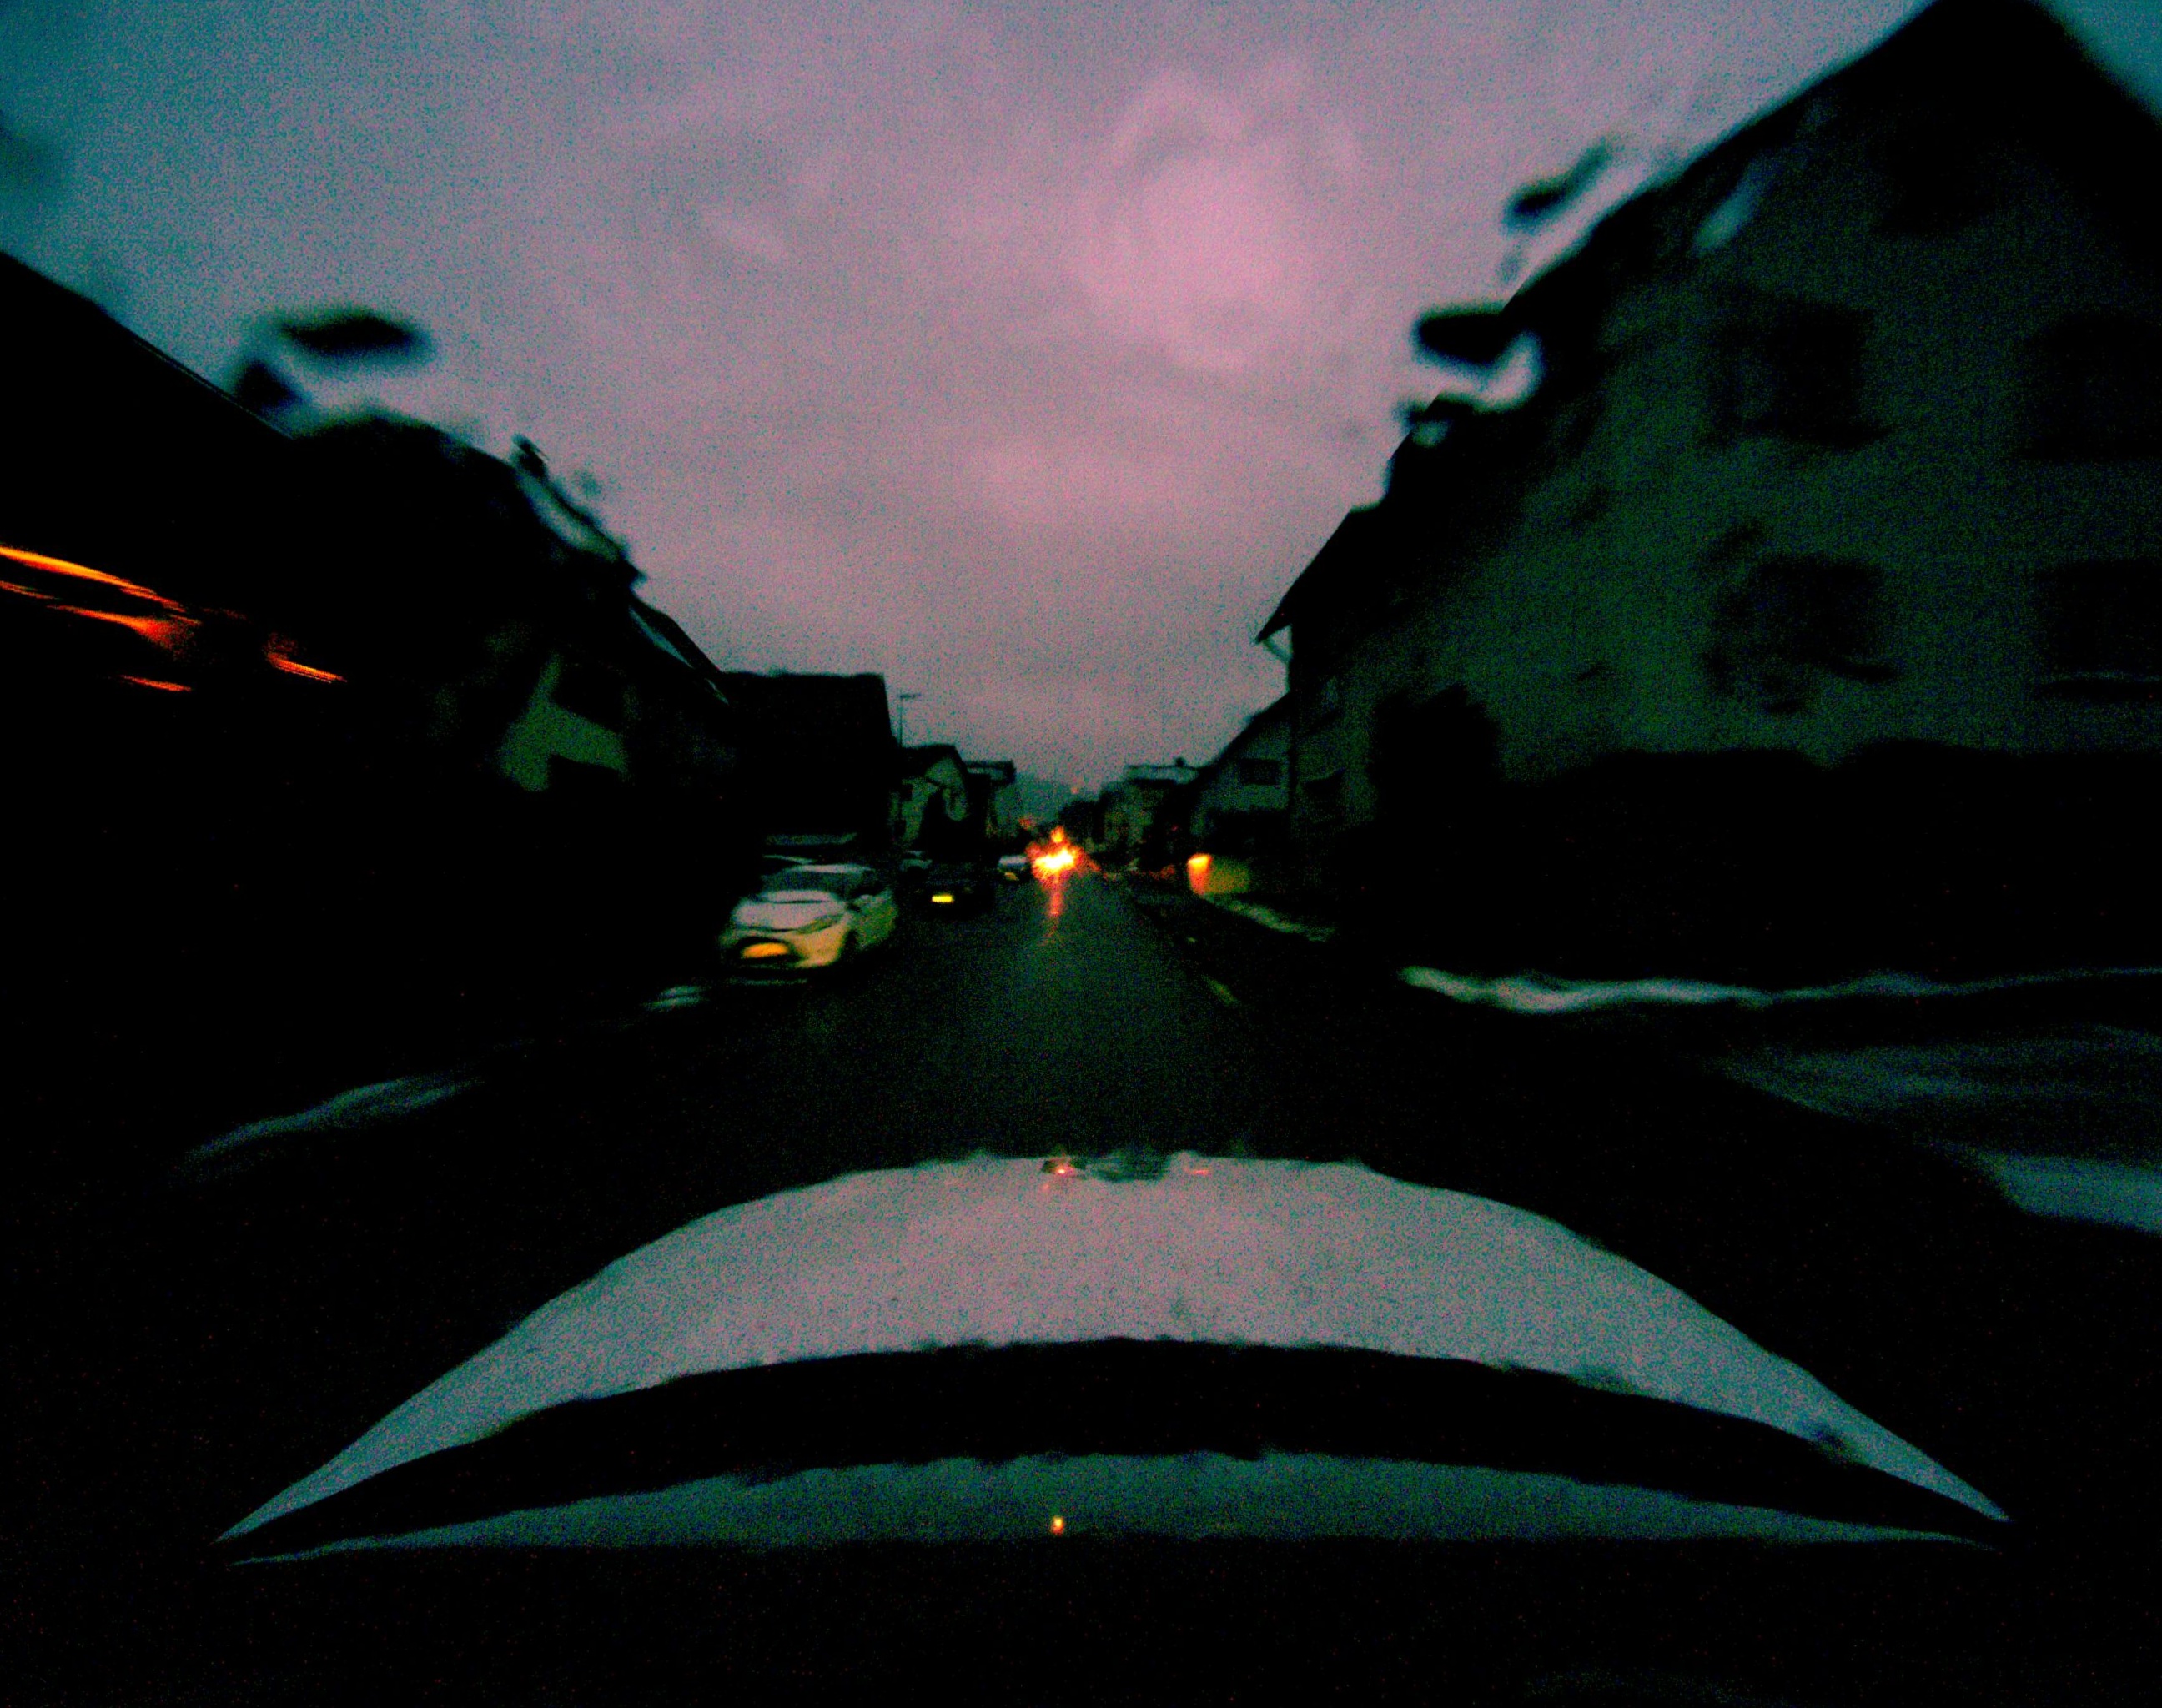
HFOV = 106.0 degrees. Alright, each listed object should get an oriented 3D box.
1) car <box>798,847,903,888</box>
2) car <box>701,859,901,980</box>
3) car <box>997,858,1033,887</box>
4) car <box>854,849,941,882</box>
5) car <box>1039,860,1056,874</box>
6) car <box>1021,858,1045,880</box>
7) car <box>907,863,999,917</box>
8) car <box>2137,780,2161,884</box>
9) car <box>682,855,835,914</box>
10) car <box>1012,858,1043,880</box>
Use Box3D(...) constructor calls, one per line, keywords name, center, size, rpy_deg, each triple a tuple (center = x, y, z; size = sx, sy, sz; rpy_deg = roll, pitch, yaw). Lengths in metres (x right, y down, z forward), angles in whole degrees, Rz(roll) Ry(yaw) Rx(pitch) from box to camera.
Box3D(name="car", center=(-10.116, 0.583, 35.953), size=(3.969, 1.746, 2.002), rpy_deg=(0, -1, 3))
Box3D(name="car", center=(-3.831, 0.836, 11.801), size=(1.613, 1.438, 3.655), rpy_deg=(-1, -1, 0))
Box3D(name="car", center=(-3.746, 1.055, 46.720), size=(1.678, 1.584, 4.174), rpy_deg=(-1, -1, 0))
Box3D(name="car", center=(-9.497, 0.596, 42.328), size=(3.969, 1.618, 1.890), rpy_deg=(0, -1, 3))
Box3D(name="car", center=(-4.306, 1.698, 104.645), size=(1.987, 1.650, 3.998), rpy_deg=(1, -2, 0))
Box3D(name="car", center=(-4.267, 1.273, 72.554), size=(1.820, 1.835, 4.344), rpy_deg=(-2, 0, 0))
Box3D(name="car", center=(-3.604, 0.991, 23.898), size=(1.871, 1.394, 5.074), rpy_deg=(-1, -1, 0))
Box3D(name="car", center=(19.496, -0.414, 12.250), size=(1.988, 1.772, 3.996), rpy_deg=(1, -2, -2))
Box3D(name="car", center=(-8.838, 0.819, 22.520), size=(3.449, 1.528, 1.775), rpy_deg=(0, -1, 3))
Box3D(name="car", center=(-3.856, 1.057, 58.980), size=(1.788, 1.503, 4.310), rpy_deg=(-2, 0, 1))
